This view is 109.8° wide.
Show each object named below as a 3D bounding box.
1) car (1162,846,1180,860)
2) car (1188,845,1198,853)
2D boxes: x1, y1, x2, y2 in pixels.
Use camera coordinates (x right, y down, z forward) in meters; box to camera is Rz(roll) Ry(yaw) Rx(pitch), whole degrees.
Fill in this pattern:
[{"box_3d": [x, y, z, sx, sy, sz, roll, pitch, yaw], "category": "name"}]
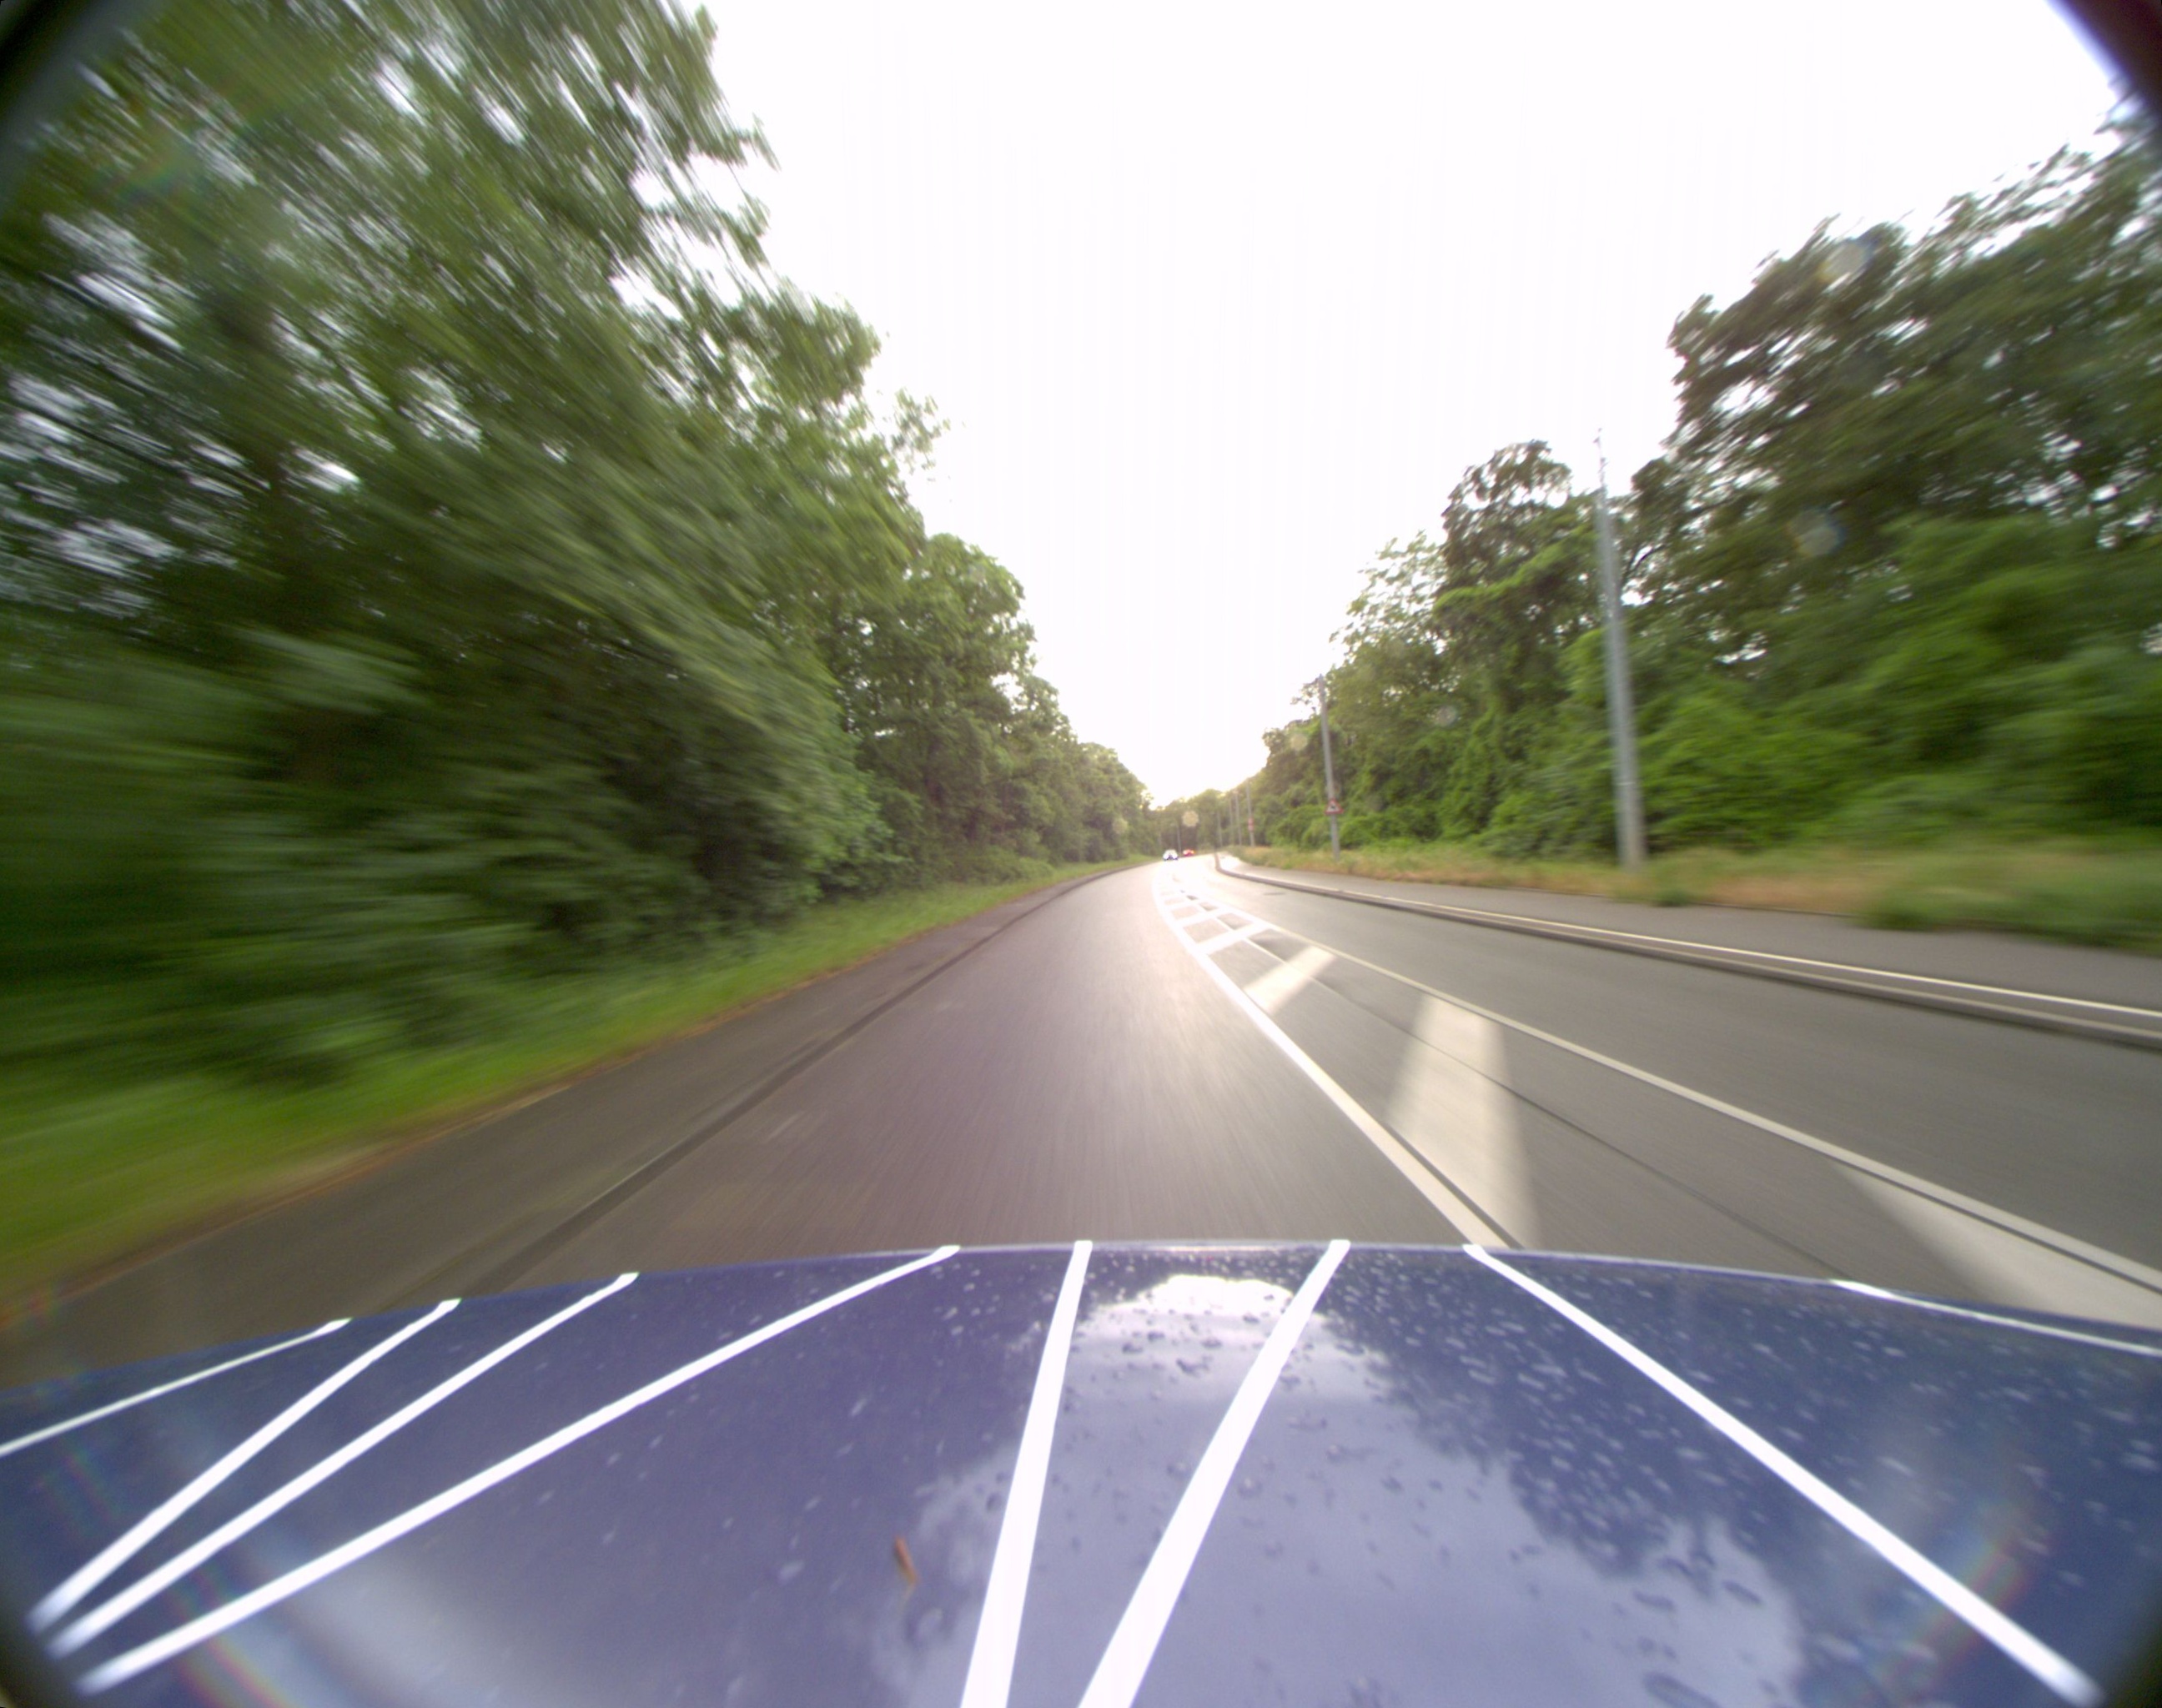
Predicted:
[{"box_3d": [12.051, -0.124, 101.444, 1.997, 1.674, 4.003, -3, 0, 10], "category": "car"}, {"box_3d": [26.680, -1.224, 180.797, 1.998, 1.674, 4.001, -3, 0, 5], "category": "car"}]
